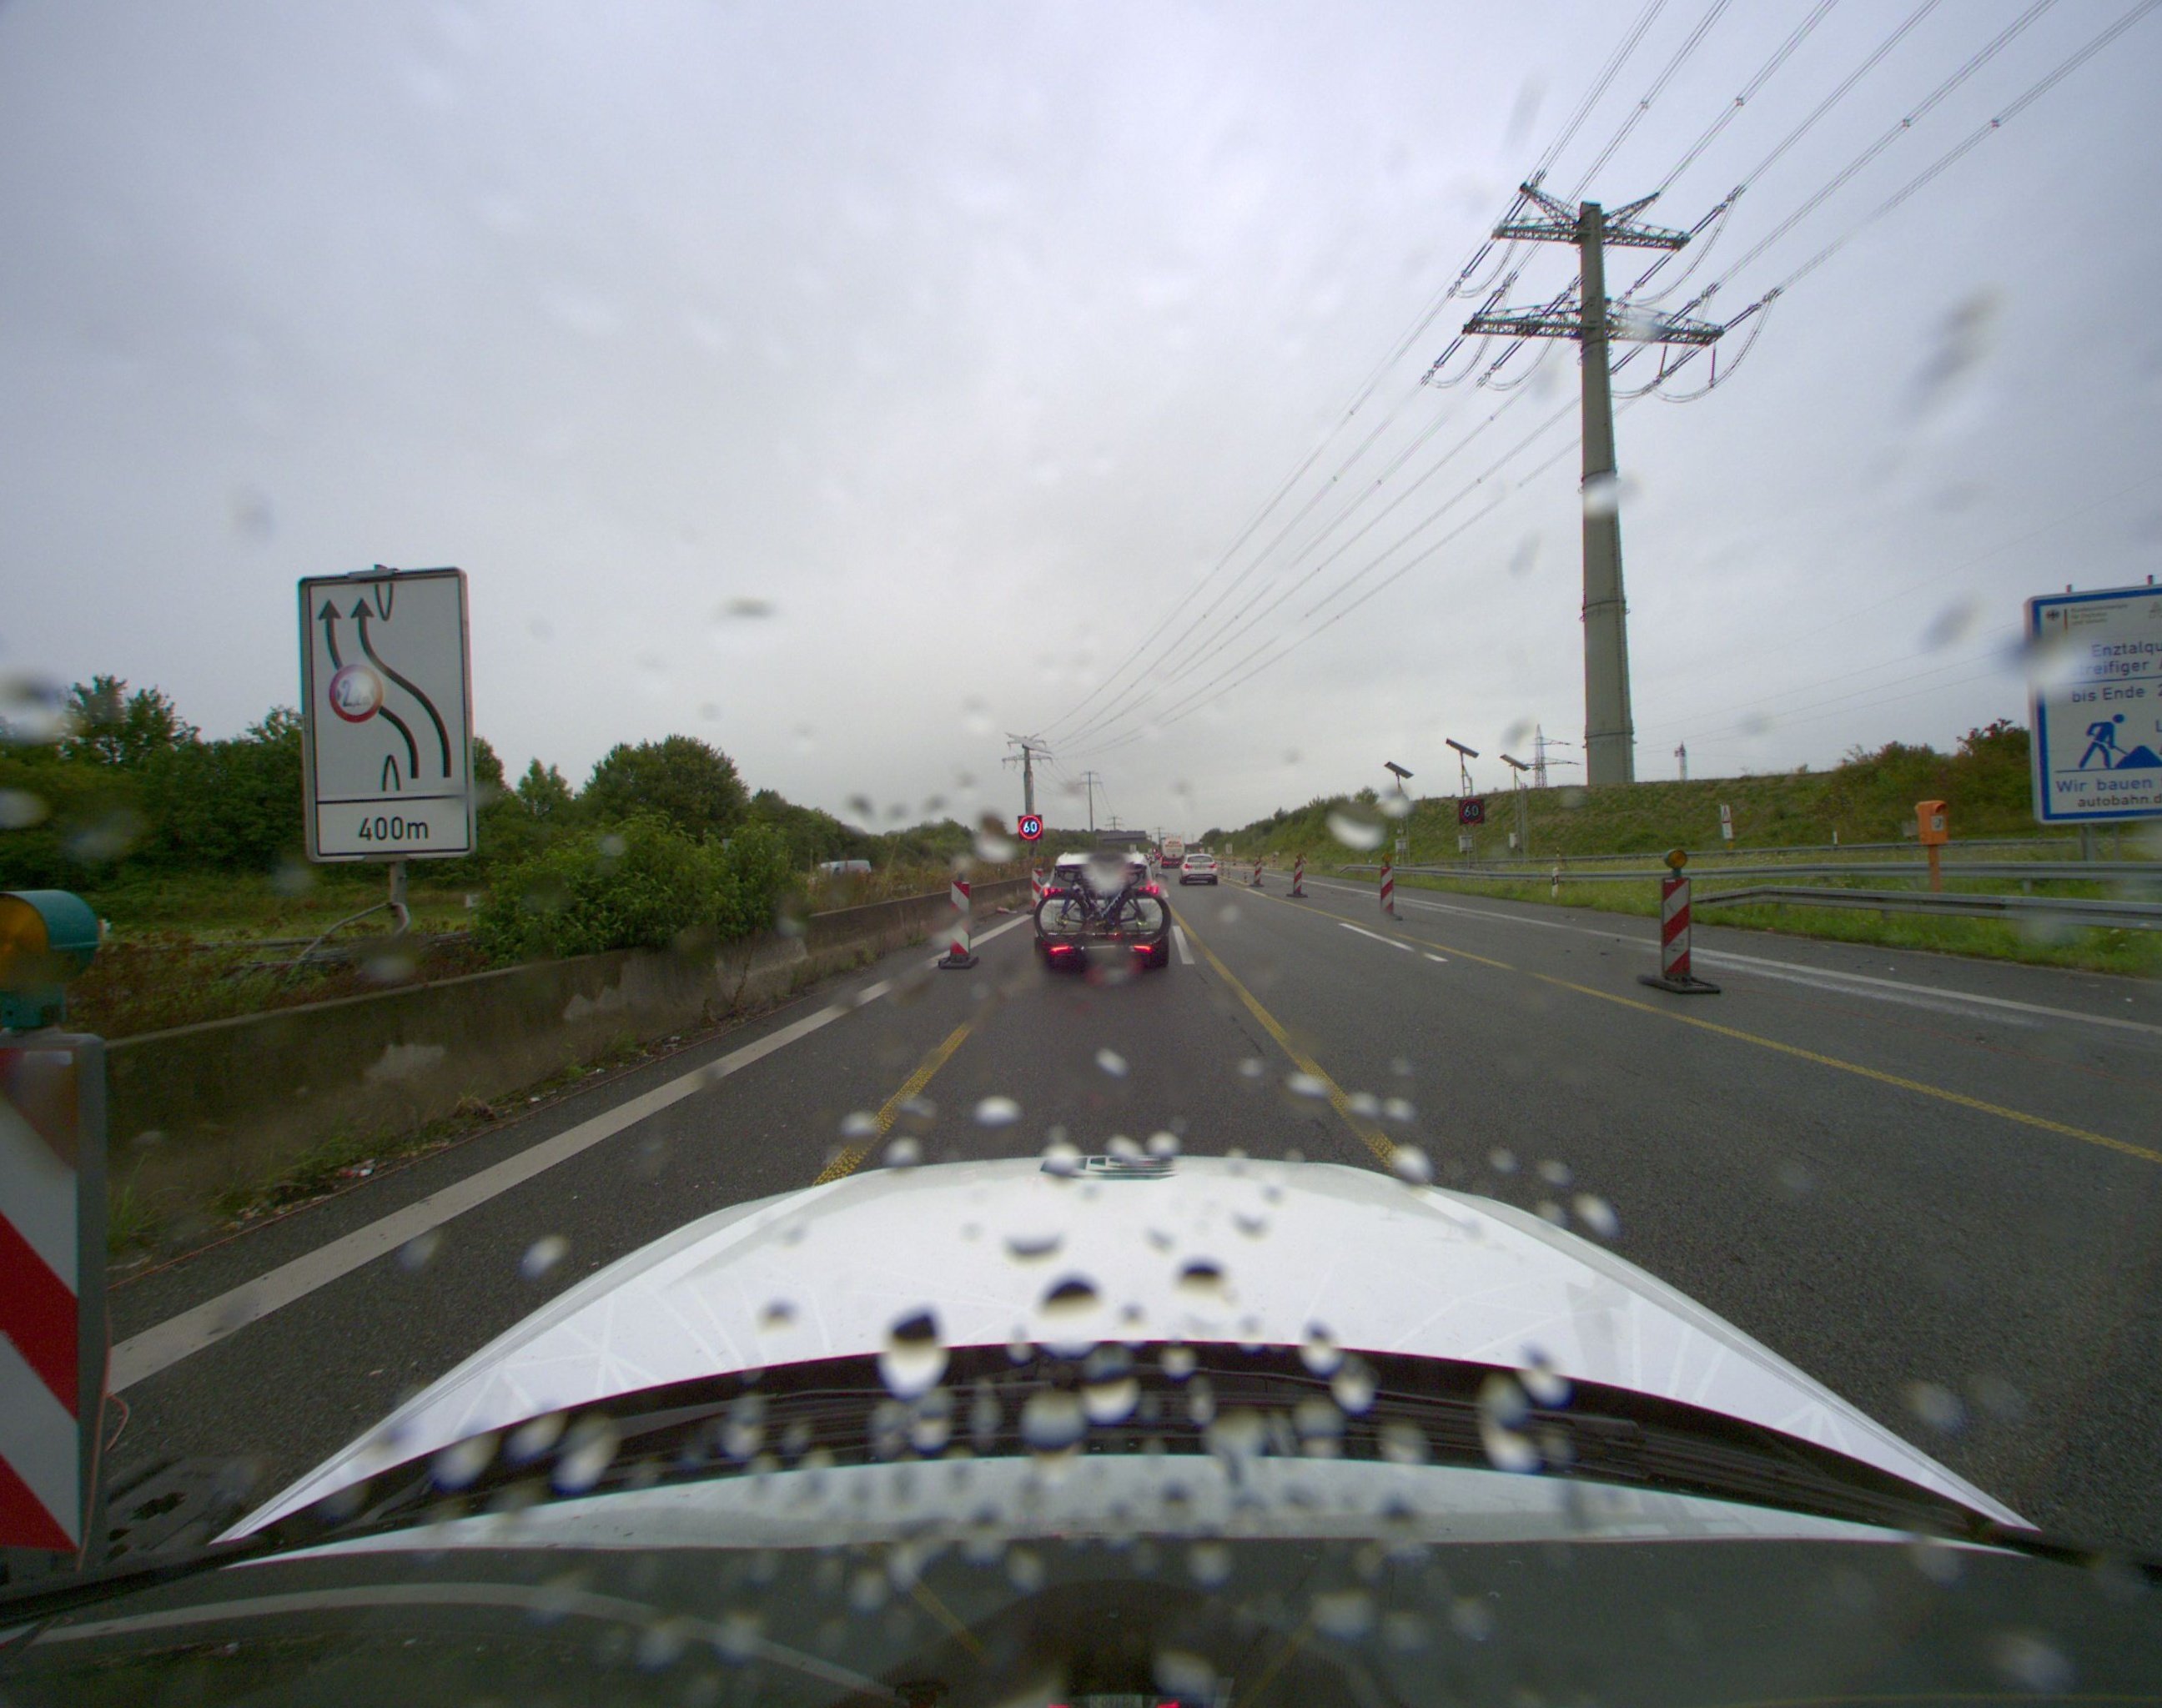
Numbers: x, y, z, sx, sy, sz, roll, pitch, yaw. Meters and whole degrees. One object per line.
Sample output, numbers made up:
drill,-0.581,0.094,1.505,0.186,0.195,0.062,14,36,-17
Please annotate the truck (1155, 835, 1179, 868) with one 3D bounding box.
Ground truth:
truck,10.431,-0.252,99.277,2.634,3.891,4.032,0,-1,2

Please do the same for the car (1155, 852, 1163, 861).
car,17.443,0.632,182.273,1.645,2.013,4.007,-1,0,6

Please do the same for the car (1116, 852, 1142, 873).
car,3.899,0.652,66.072,1.986,1.584,4.002,-1,0,2

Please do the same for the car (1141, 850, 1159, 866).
car,8.819,0.555,104.339,1.986,2.014,4.002,0,-1,2

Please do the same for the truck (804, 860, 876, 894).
truck,-19.596,1.824,66.641,1.976,2.428,6.467,-3,0,21

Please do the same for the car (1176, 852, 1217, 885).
car,5.803,0.711,41.463,1.861,1.535,4.203,-1,0,5

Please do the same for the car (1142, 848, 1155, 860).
car,11.776,0.084,142.567,1.986,2.014,4.002,0,-1,2

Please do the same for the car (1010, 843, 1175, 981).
car,0.308,0.688,11.910,1.919,1.611,4.601,-1,0,4

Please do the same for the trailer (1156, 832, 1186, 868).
trailer,10.189,-0.332,92.879,2.627,3.893,10.548,0,-1,2

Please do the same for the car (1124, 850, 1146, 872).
car,5.303,0.637,80.613,1.986,2.013,4.002,-3,0,2
